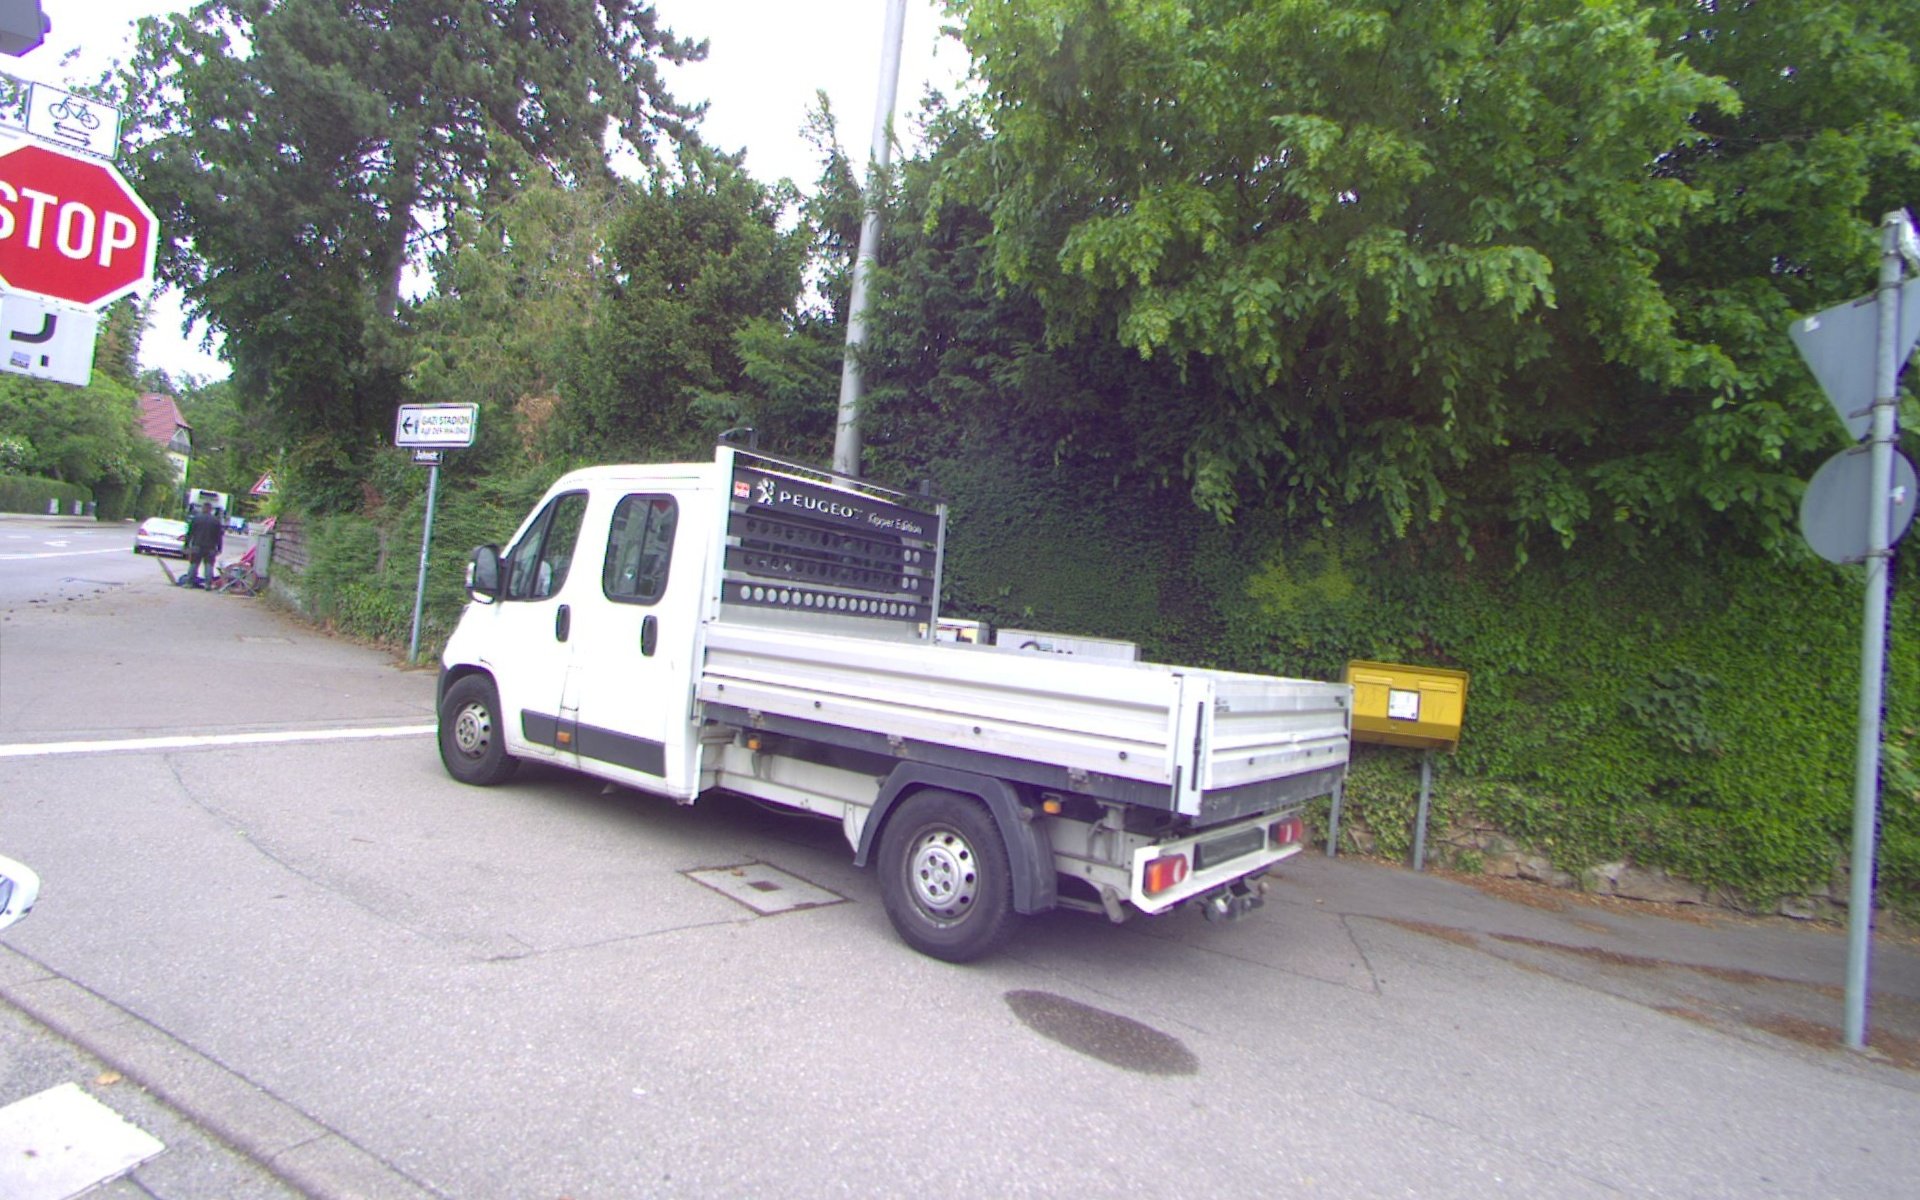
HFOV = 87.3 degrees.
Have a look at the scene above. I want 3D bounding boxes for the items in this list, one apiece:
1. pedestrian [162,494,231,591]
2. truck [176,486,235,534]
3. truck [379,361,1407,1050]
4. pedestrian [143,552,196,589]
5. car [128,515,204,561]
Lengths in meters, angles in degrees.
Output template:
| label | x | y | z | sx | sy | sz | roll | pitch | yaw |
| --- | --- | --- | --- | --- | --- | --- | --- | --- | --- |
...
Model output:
| label | x | y | z | sx | sy | sz | roll | pitch | yaw |
| --- | --- | --- | --- | --- | --- | --- | --- | --- | --- |
| pedestrian | -16.487 | -1.232 | 21.732 | 0.789 | 1.947 | 0.846 | 7 | 0 | 37 |
| truck | -64.669 | -7.669 | 86.149 | 2.771 | 3.502 | 7.399 | 7 | -2 | -45 |
| truck | -0.852 | 0.238 | 6.254 | 6.095 | 2.379 | 2.397 | 6 | -1 | 37 |
| pedestrian | -17.544 | -0.658 | 22.339 | 0.574 | 0.705 | 0.647 | 7 | 0 | 16 |
| car | -30.850 | -2.372 | 39.193 | 1.785 | 1.431 | 4.300 | 7 | -2 | -33 |
